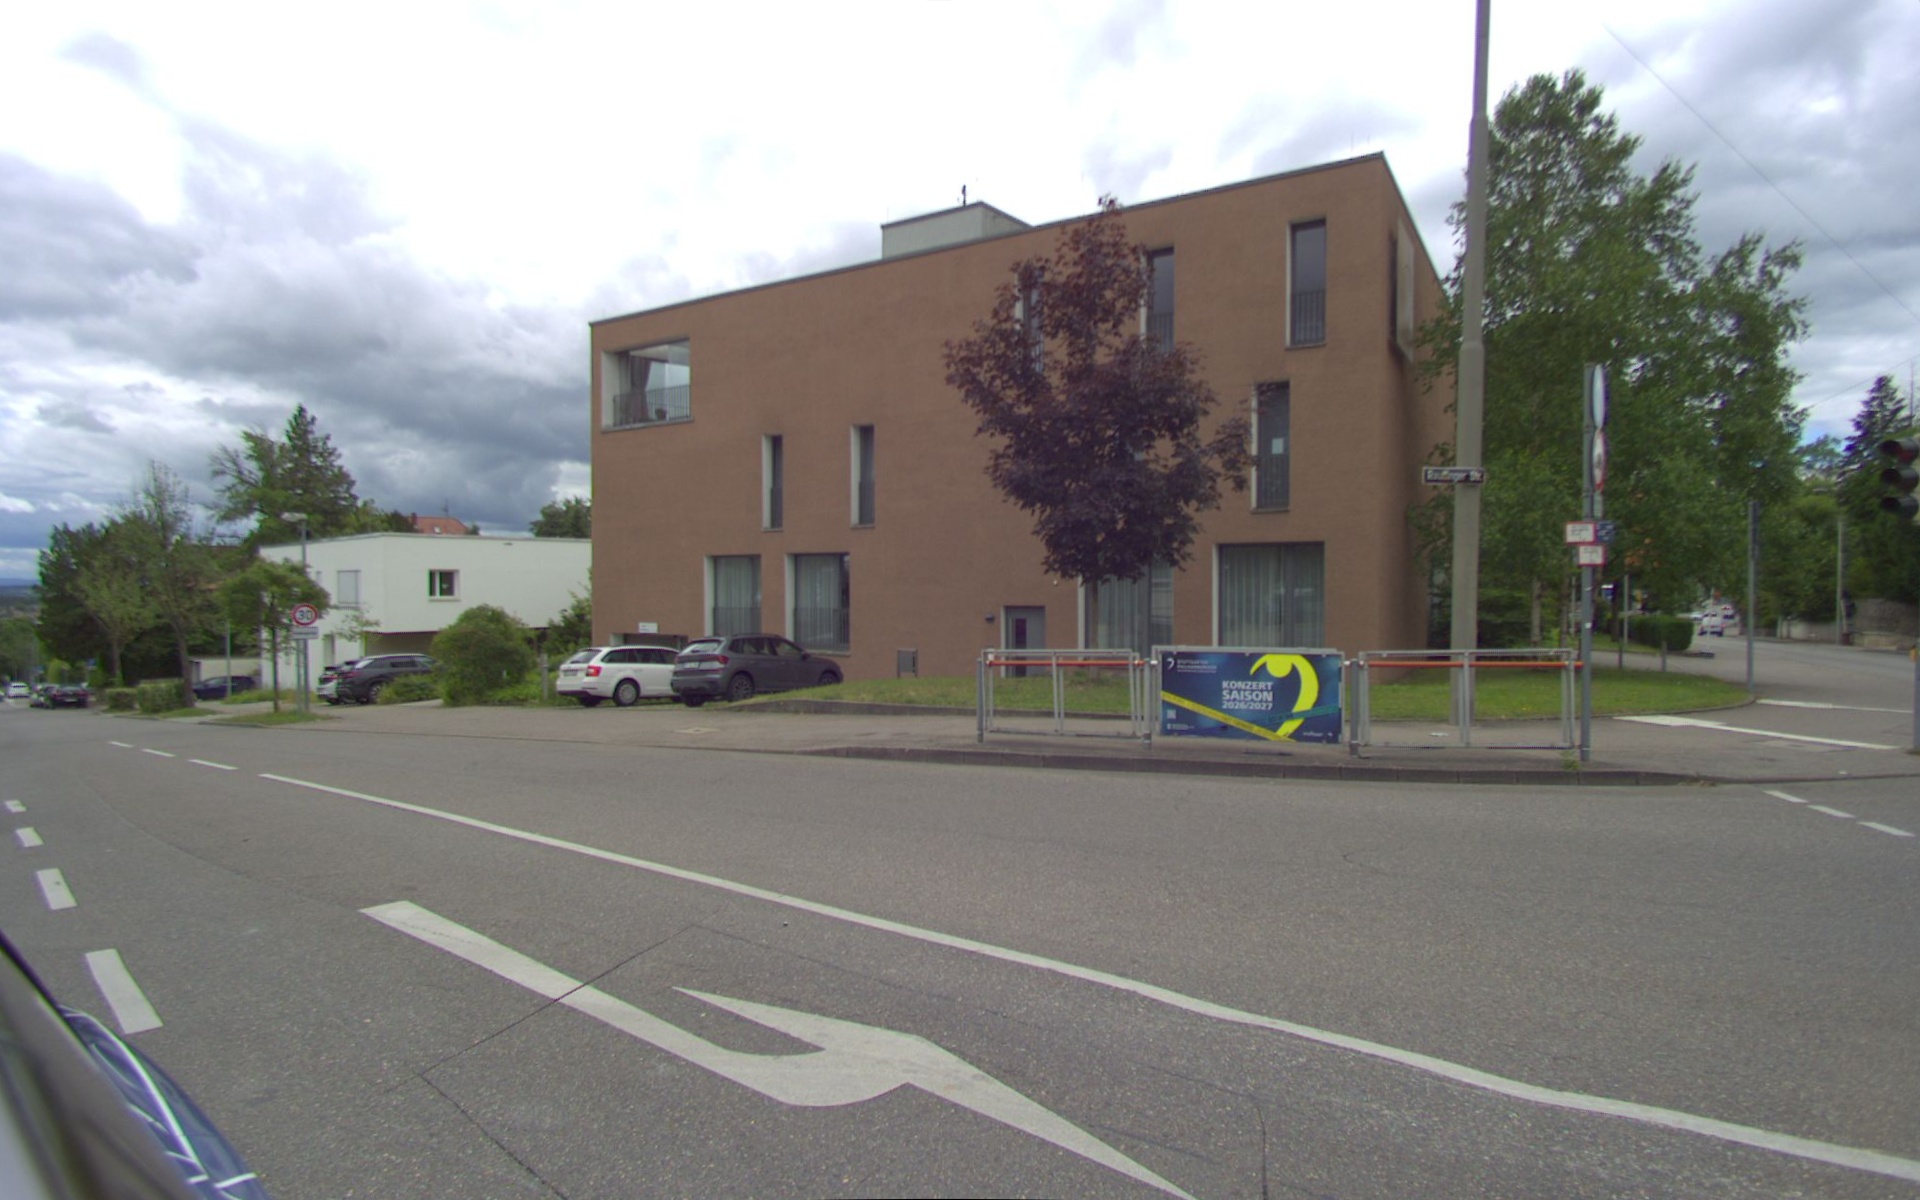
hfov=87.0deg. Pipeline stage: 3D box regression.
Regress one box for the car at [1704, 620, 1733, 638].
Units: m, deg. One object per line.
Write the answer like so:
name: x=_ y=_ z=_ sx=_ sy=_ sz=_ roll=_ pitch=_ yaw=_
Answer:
car: x=74.538 y=2.882 z=99.515 sx=1.807 sy=1.724 sz=3.993 roll=-1 pitch=-2 yaw=31

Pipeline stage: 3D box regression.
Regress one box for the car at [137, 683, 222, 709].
car: x=-46.971 y=5.759 z=60.932 sx=3.939 sy=1.296 sz=1.665 roll=0 pitch=-4 yaw=-43

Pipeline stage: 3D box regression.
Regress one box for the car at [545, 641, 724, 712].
car: x=-7.997 y=1.861 z=25.121 sx=1.724 sy=1.497 sz=3.950 roll=-5 pitch=-4 yaw=37

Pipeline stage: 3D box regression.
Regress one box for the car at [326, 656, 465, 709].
car: x=-19.974 y=2.916 z=35.933 sx=1.793 sy=1.608 sz=3.943 roll=-6 pitch=-4 yaw=43

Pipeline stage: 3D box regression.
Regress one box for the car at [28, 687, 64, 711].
car: x=-61.556 y=6.651 z=68.144 sx=1.638 sy=1.432 sz=4.371 roll=0 pitch=-4 yaw=-44

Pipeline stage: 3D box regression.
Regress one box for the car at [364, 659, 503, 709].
car: x=-18.231 y=2.895 z=35.147 sx=1.727 sy=1.497 sz=3.943 roll=-6 pitch=-4 yaw=43

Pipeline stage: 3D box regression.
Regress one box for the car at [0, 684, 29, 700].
car: x=-95.906 y=9.327 z=102.350 sx=4.362 sy=1.432 sz=1.861 roll=-3 pitch=-3 yaw=38

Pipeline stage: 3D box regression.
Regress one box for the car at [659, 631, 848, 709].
car: x=-4.493 y=1.522 z=22.516 sx=1.724 sy=1.497 sz=3.950 roll=-5 pitch=-4 yaw=37

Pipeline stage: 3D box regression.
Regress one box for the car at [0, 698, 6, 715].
car: x=-84.806 y=9.238 z=86.896 sx=4.313 sy=1.432 sz=1.882 roll=-2 pitch=-2 yaw=5

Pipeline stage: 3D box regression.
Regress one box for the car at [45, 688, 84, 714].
car: x=-54.934 y=6.191 z=62.066 sx=1.638 sy=1.432 sz=4.003 roll=0 pitch=-4 yaw=-44
